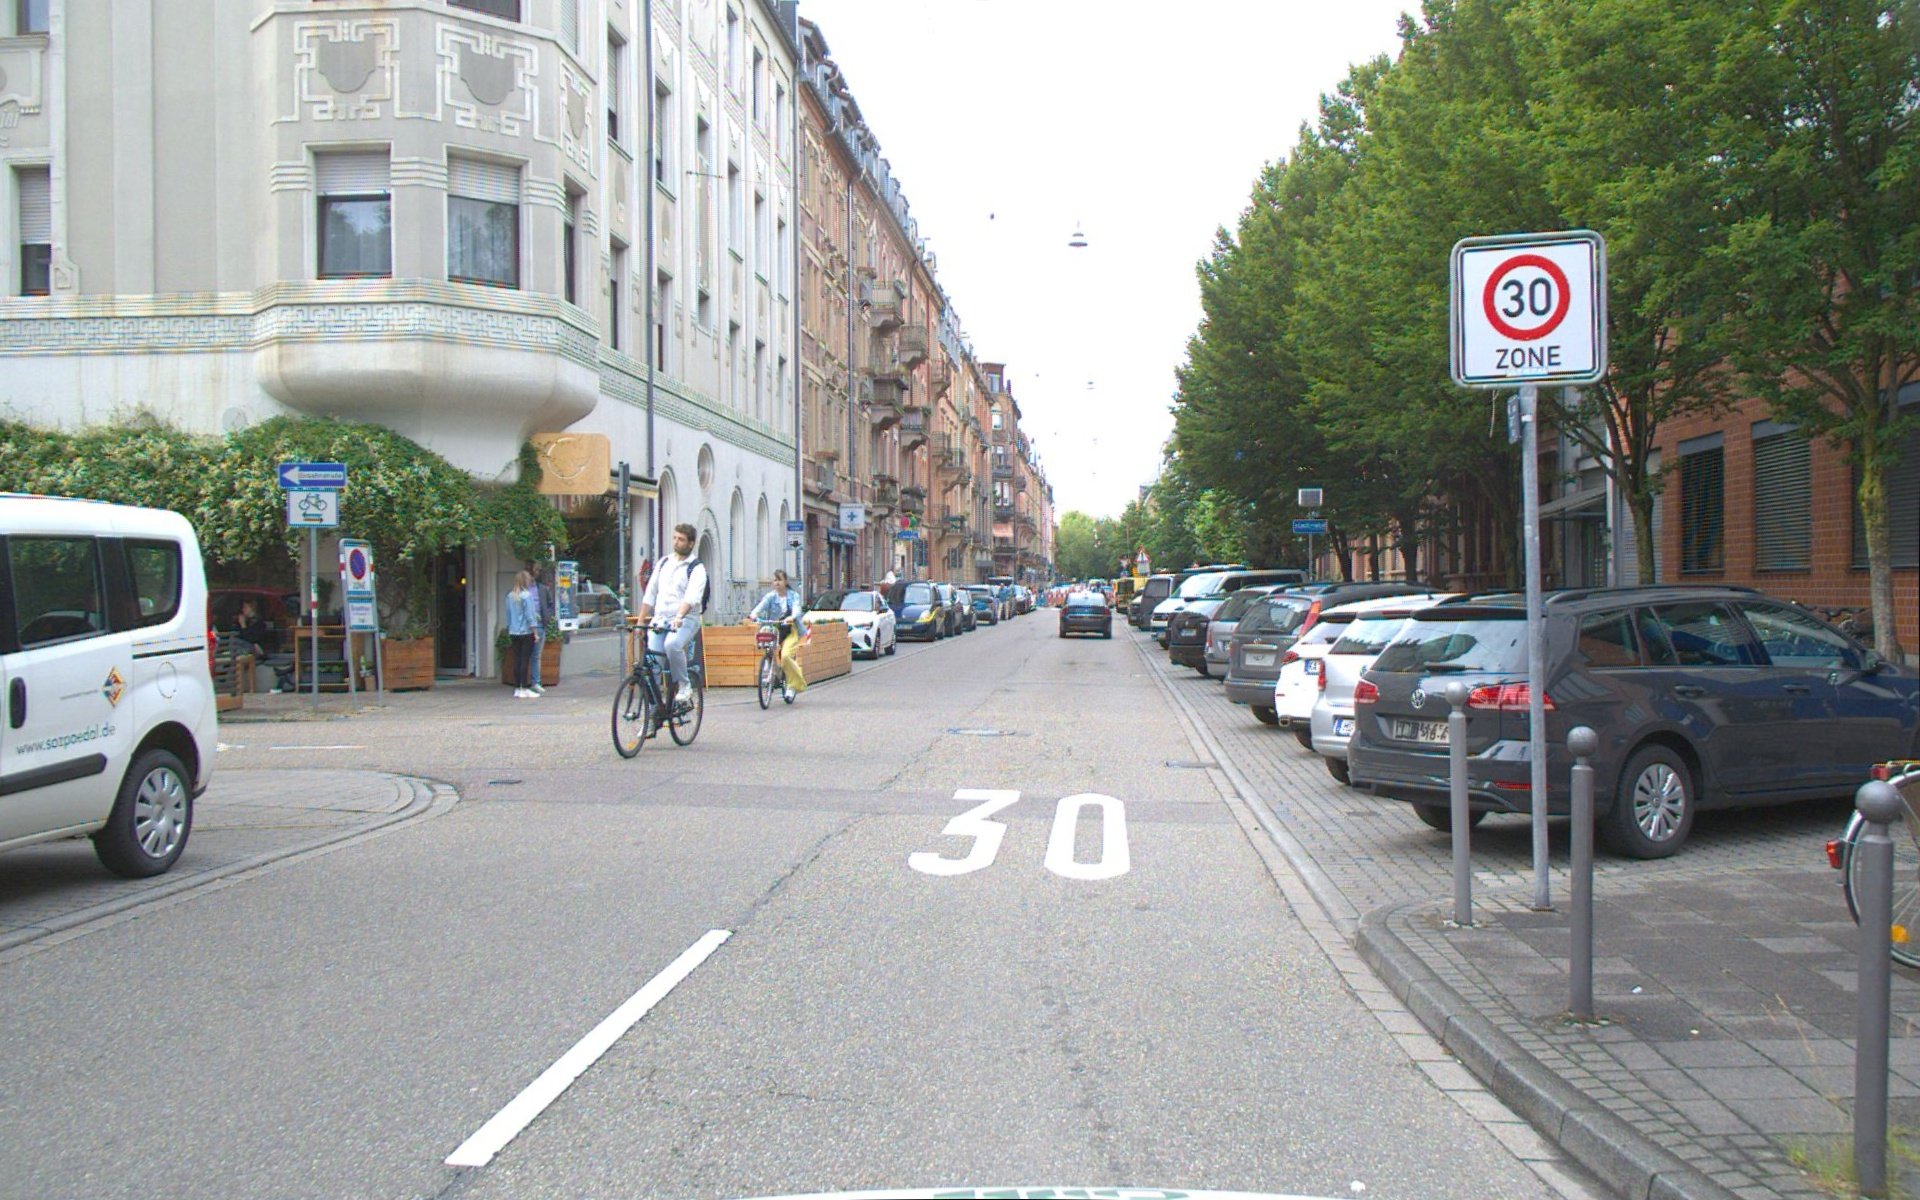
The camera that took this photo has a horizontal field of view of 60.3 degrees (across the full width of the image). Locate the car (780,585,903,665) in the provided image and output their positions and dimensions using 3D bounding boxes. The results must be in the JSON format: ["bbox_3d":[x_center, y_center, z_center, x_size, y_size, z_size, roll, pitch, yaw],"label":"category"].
[{"bbox_3d":[-2.498,0.509,35.772,1.903,1.580,3.820,-2,0,7],"label":"car"}]

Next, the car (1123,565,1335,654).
[{"bbox_3d":[7.143,0.218,43.735,5.547,2.164,1.931,-2,0,-30],"label":"car"}]

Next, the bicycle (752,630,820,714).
[{"bbox_3d":[-2.156,0.871,20.654,0.524,0.995,1.866,0,-1,4],"label":"bicycle"}]

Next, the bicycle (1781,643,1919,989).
[{"bbox_3d":[4.051,0.729,5.956,1.844,1.161,0.612,-2,-1,1],"label":"bicycle"}]

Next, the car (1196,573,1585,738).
[{"bbox_3d":[4.868,0.563,18.669,3.998,1.612,1.887,-2,0,-27],"label":"car"}]

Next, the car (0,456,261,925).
[{"bbox_3d":[-4.959,0.383,6.832,1.804,1.973,4.551,0,1,6],"label":"car"}]

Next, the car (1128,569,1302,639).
[{"bbox_3d":[8.017,0.099,51.797,5.329,2.027,1.931,-2,0,-30],"label":"car"}]

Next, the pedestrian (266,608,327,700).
[{"bbox_3d":[-9.024,0.725,22.515,0.566,1.218,0.555,0,1,4],"label":"pedestrian"}]

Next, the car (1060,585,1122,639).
[{"bbox_3d":[4.303,0.405,54.691,1.952,1.710,4.001,0,-1,3],"label":"car"}]

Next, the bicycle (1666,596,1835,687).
[{"bbox_3d":[9.752,0.514,20.452,1.797,1.111,0.565,0,-1,4],"label":"bicycle"}]

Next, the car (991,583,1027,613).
[{"bbox_3d":[2.933,-0.133,98.341,1.903,1.768,3.945,-1,0,5],"label":"car"}]

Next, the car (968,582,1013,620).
[{"bbox_3d":[1.517,0.053,80.781,1.903,1.772,3.945,0,0,5],"label":"car"}]

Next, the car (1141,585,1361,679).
[{"bbox_3d":[5.285,0.553,29.925,3.820,1.531,1.749,-2,0,-36],"label":"car"}]

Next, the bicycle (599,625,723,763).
[{"bbox_3d":[-2.660,0.808,14.917,0.555,1.106,1.988,0,1,6],"label":"bicycle"}]

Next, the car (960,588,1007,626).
[{"bbox_3d":[1.079,0.289,74.488,1.903,1.645,3.944,0,0,4],"label":"car"}]

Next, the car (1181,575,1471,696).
[{"bbox_3d":[5.467,0.487,24.678,3.998,1.612,1.756,-2,0,-26],"label":"car"}]

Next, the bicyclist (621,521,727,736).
[{"bbox_3d":[-2.593,0.251,15.054,0.765,1.899,0.715,0,0,6],"label":"bicyclist"}]

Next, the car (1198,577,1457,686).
[{"bbox_3d":[6.052,0.479,27.181,4.003,1.612,1.754,-2,0,-30],"label":"car"}]

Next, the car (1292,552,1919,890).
[{"bbox_3d":[4.327,0.589,10.271,4.226,1.606,1.846,-3,0,-29],"label":"car"}]

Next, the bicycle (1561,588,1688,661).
[{"bbox_3d":[10.157,0.374,25.312,1.715,1.111,0.565,0,-1,4],"label":"bicycle"}]

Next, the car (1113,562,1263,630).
[{"bbox_3d":[8.670,-0.163,62.973,5.300,2.415,1.941,-2,0,-17],"label":"car"}]

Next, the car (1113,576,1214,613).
[{"bbox_3d":[11.279,-0.302,91.485,5.318,1.900,1.935,-2,0,-25],"label":"car"}]

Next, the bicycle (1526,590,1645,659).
[{"bbox_3d":[10.190,0.398,26.979,1.715,1.111,0.565,0,-1,4],"label":"bicycle"}]

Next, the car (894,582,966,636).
[{"bbox_3d":[-0.917,0.268,52.780,1.903,1.645,3.945,0,0,5],"label":"car"}]

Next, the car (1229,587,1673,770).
[{"bbox_3d":[4.763,0.702,16.029,3.925,1.570,1.860,1,0,-27],"label":"car"}]

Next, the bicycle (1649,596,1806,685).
[{"bbox_3d":[9.769,0.517,21.083,1.715,1.111,0.565,0,-1,4],"label":"bicycle"}]

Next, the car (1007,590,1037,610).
[{"bbox_3d":[4.221,0.023,113.228,1.952,1.344,4.000,0,-1,1],"label":"car"}]

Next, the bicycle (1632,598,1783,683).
[{"bbox_3d":[9.865,0.537,21.862,1.715,1.111,0.565,0,-1,4],"label":"bicycle"}]

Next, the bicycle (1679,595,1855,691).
[{"bbox_3d":[9.574,0.510,19.669,1.797,1.111,0.543,0,-1,4],"label":"bicycle"}]

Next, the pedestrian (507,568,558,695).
[{"bbox_3d":[-5.993,0.439,23.181,0.572,1.765,0.500,1,-1,-31],"label":"pedestrian"}]

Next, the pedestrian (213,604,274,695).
[{"bbox_3d":[-9.871,0.676,22.792,0.566,1.218,0.555,0,1,4],"label":"pedestrian"}]

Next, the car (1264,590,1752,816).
[{"bbox_3d":[4.324,0.692,12.996,3.518,1.525,1.826,0,1,-31],"label":"car"}]

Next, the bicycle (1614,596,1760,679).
[{"bbox_3d":[9.858,0.507,22.471,1.715,1.111,0.565,0,-1,4],"label":"bicycle"}]

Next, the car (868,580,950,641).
[{"bbox_3d":[-1.414,0.292,47.325,1.903,1.645,3.945,0,0,5],"label":"car"}]

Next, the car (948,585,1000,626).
[{"bbox_3d":[0.597,0.201,69.066,1.903,1.645,3.945,-1,0,4],"label":"car"}]

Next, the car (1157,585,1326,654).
[{"bbox_3d":[6.840,0.454,40.148,3.810,1.531,1.754,-2,0,-30],"label":"car"}]

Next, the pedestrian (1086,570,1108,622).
[{"bbox_3d":[5.797,-0.163,70.027,0.872,2.183,1.028,0,-1,3],"label":"pedestrian"}]

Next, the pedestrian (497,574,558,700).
[{"bbox_3d":[-5.871,0.499,22.444,0.567,1.689,0.575,-1,-1,26],"label":"pedestrian"}]

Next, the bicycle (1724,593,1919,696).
[{"bbox_3d":[9.523,0.489,18.253,1.892,1.111,0.577,0,-1,4],"label":"bicycle"}]

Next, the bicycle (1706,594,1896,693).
[{"bbox_3d":[9.565,0.498,18.858,1.855,1.111,0.543,0,-1,4],"label":"bicycle"}]

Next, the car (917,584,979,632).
[{"bbox_3d":[-0.398,0.272,59.734,1.903,1.645,3.944,0,0,4],"label":"car"}]

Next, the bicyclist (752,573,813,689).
[{"bbox_3d":[-2.211,0.388,20.719,0.654,1.423,0.784,0,-1,2],"label":"bicyclist"}]

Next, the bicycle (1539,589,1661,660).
[{"bbox_3d":[10.184,0.390,26.363,1.715,1.111,0.565,0,-1,4],"label":"bicycle"}]

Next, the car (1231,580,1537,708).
[{"bbox_3d":[5.707,0.545,22.139,4.007,1.512,1.664,-2,0,-32],"label":"car"}]

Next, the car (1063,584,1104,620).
[{"bbox_3d":[6.032,0.126,81.133,1.952,1.710,4.001,0,-1,3],"label":"car"}]
